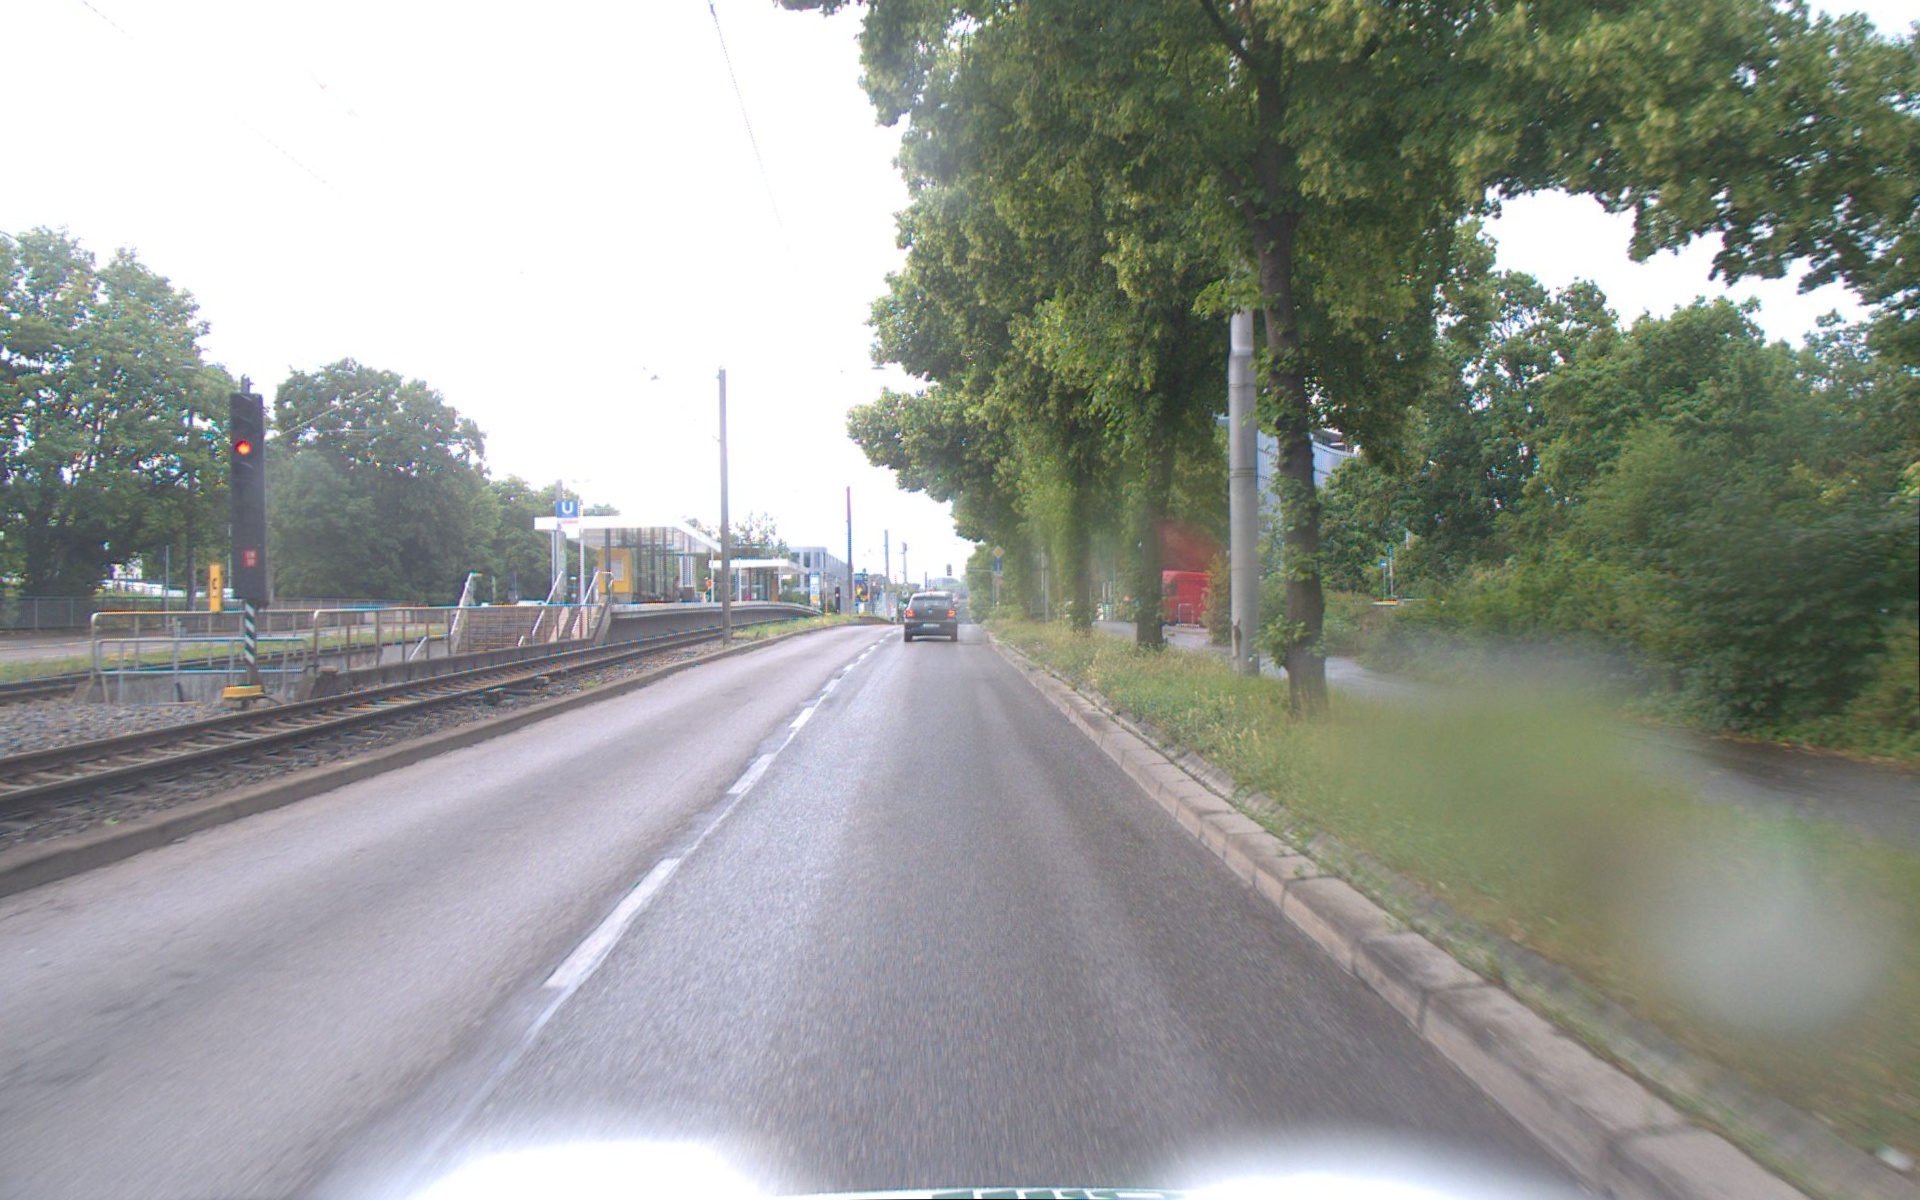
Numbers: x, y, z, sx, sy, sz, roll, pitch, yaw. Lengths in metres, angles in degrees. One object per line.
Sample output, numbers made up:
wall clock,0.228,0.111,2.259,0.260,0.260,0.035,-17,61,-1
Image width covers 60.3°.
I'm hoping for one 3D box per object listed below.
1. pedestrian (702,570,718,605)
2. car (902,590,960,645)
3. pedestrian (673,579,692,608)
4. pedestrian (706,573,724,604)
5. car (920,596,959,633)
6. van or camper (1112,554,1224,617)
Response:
pedestrian,-13.850,-0.709,91.685,0.732,1.942,0.837,0,1,-21
car,-0.905,0.515,50.804,1.692,1.567,3.999,-1,1,-2
pedestrian,-12.250,-0.290,73.063,0.696,1.247,0.619,0,0,0
pedestrian,-13.484,-0.648,90.925,0.783,1.675,0.913,0,1,-21
car,-0.904,0.616,73.704,1.653,1.544,4.000,-1,1,0
van or camper,9.019,-0.587,71.216,2.006,2.448,5.358,3,0,42
